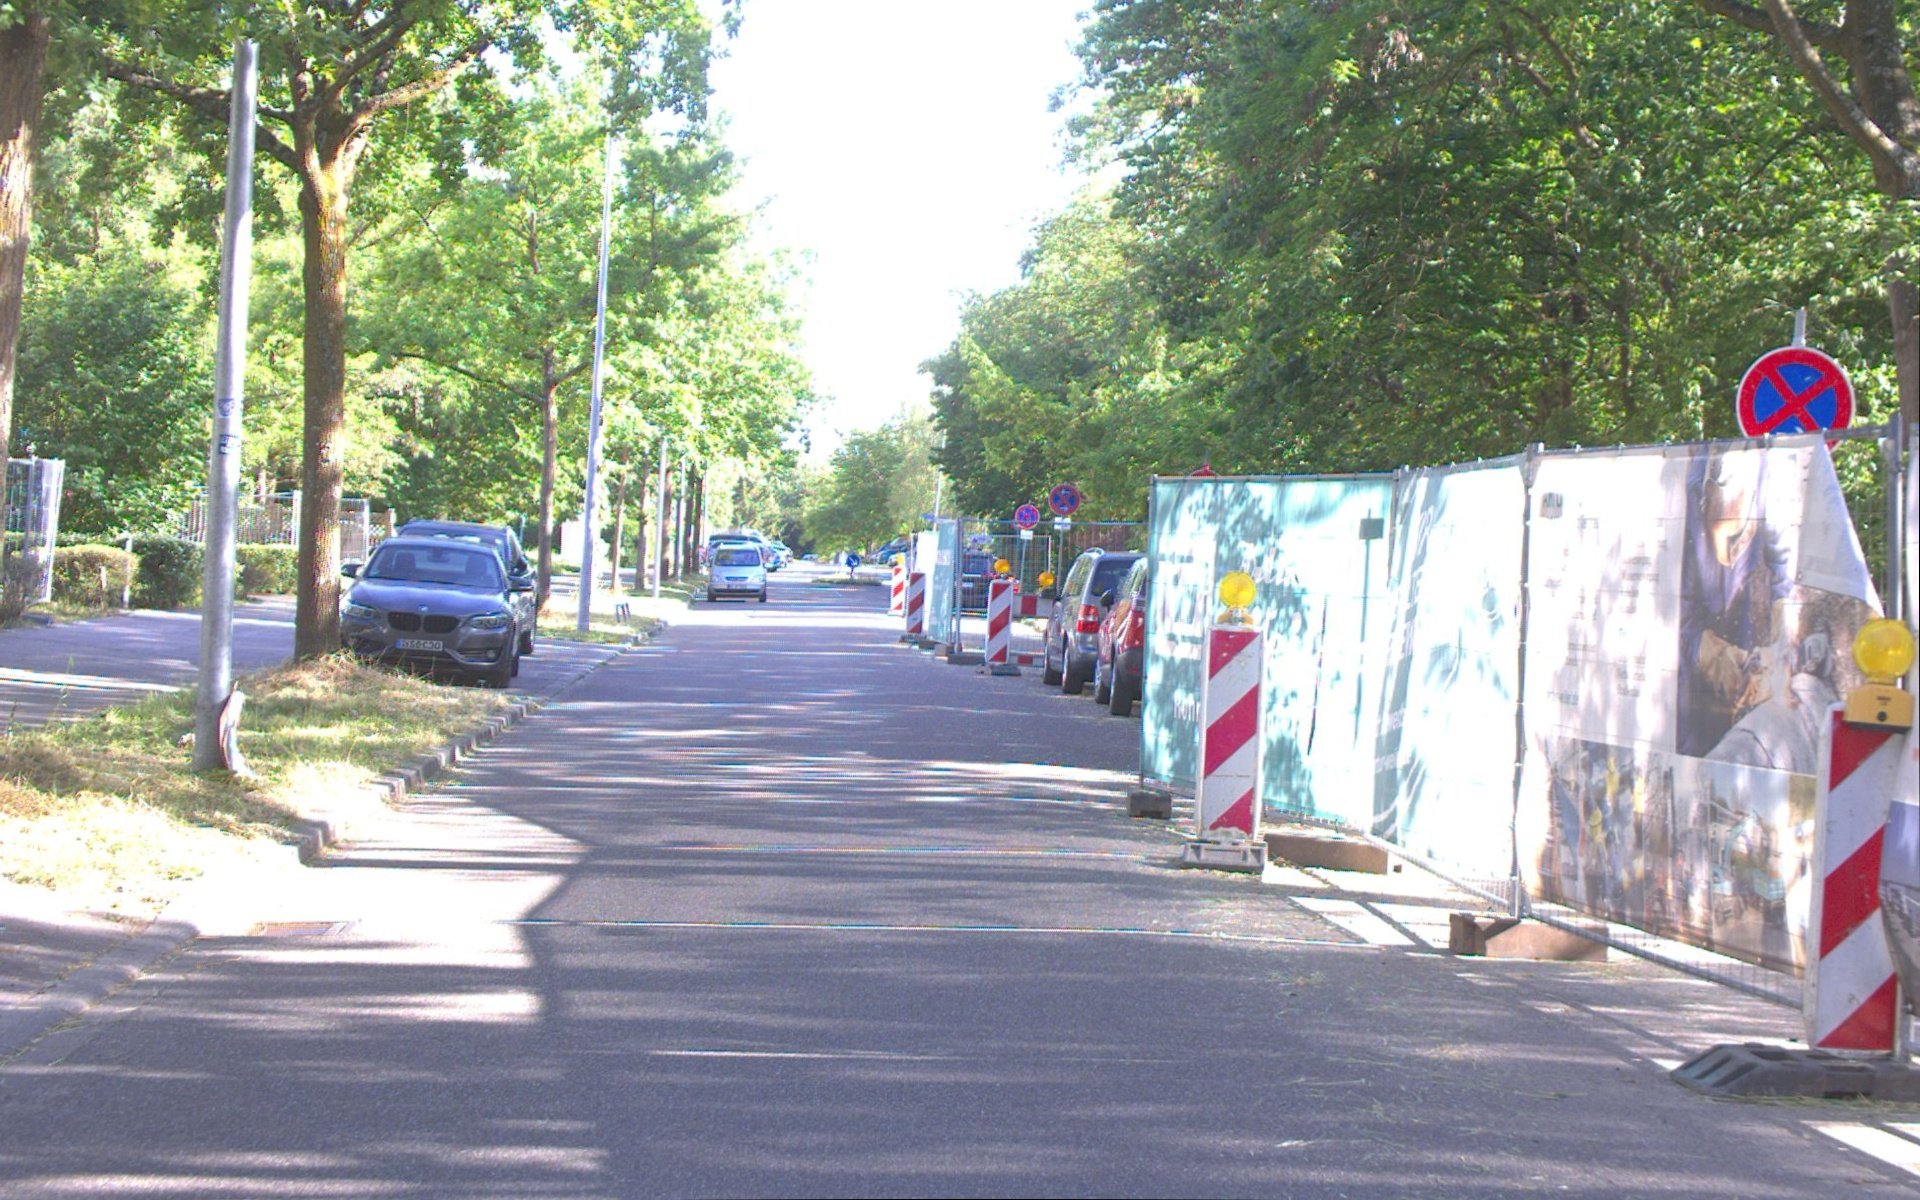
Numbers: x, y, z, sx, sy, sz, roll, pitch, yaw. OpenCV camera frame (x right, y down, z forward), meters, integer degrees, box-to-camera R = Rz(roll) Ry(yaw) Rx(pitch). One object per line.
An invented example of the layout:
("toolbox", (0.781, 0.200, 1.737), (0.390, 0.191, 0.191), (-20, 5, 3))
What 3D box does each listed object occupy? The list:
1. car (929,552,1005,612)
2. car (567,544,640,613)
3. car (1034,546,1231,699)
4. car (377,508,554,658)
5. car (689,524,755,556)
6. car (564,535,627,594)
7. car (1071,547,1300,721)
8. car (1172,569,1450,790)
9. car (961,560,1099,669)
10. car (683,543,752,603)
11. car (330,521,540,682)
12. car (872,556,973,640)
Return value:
("car", (0.163, -0.474, 88.318), (1.794, 1.405, 4.000), (3, 1, -1))
("car", (-7.293, -0.441, 70.544), (1.361, 1.298, 3.482), (4, 0, -5))
("car", (1.934, 0.218, 39.510), (1.753, 1.590, 3.658), (3, 1, -4))
("car", (-6.021, -0.221, 42.203), (1.689, 1.669, 3.502), (3, 1, -2))
("car", (-14.420, -3.635, 208.463), (3.709, 1.685, 1.581), (3, 1, -13))
("car", (-8.704, -0.845, 82.222), (1.361, 1.298, 3.482), (4, 0, -5))
("car", (2.224, 0.302, 34.840), (1.753, 1.590, 3.658), (3, 1, -4))
("car", (2.575, 0.550, 25.791), (1.500, 1.473, 3.059), (3, 1, -4))
("car", (0.888, 0.183, 45.377), (1.361, 1.298, 3.482), (4, 0, -5))
("car", (-7.010, -0.764, 99.171), (1.710, 1.579, 4.001), (4, 0, -6))
("car", (-5.319, -0.018, 35.226), (1.750, 1.473, 3.837), (3, 1, -4))
("car", (-0.659, -0.035, 58.287), (1.361, 1.298, 3.482), (4, 0, -5))
